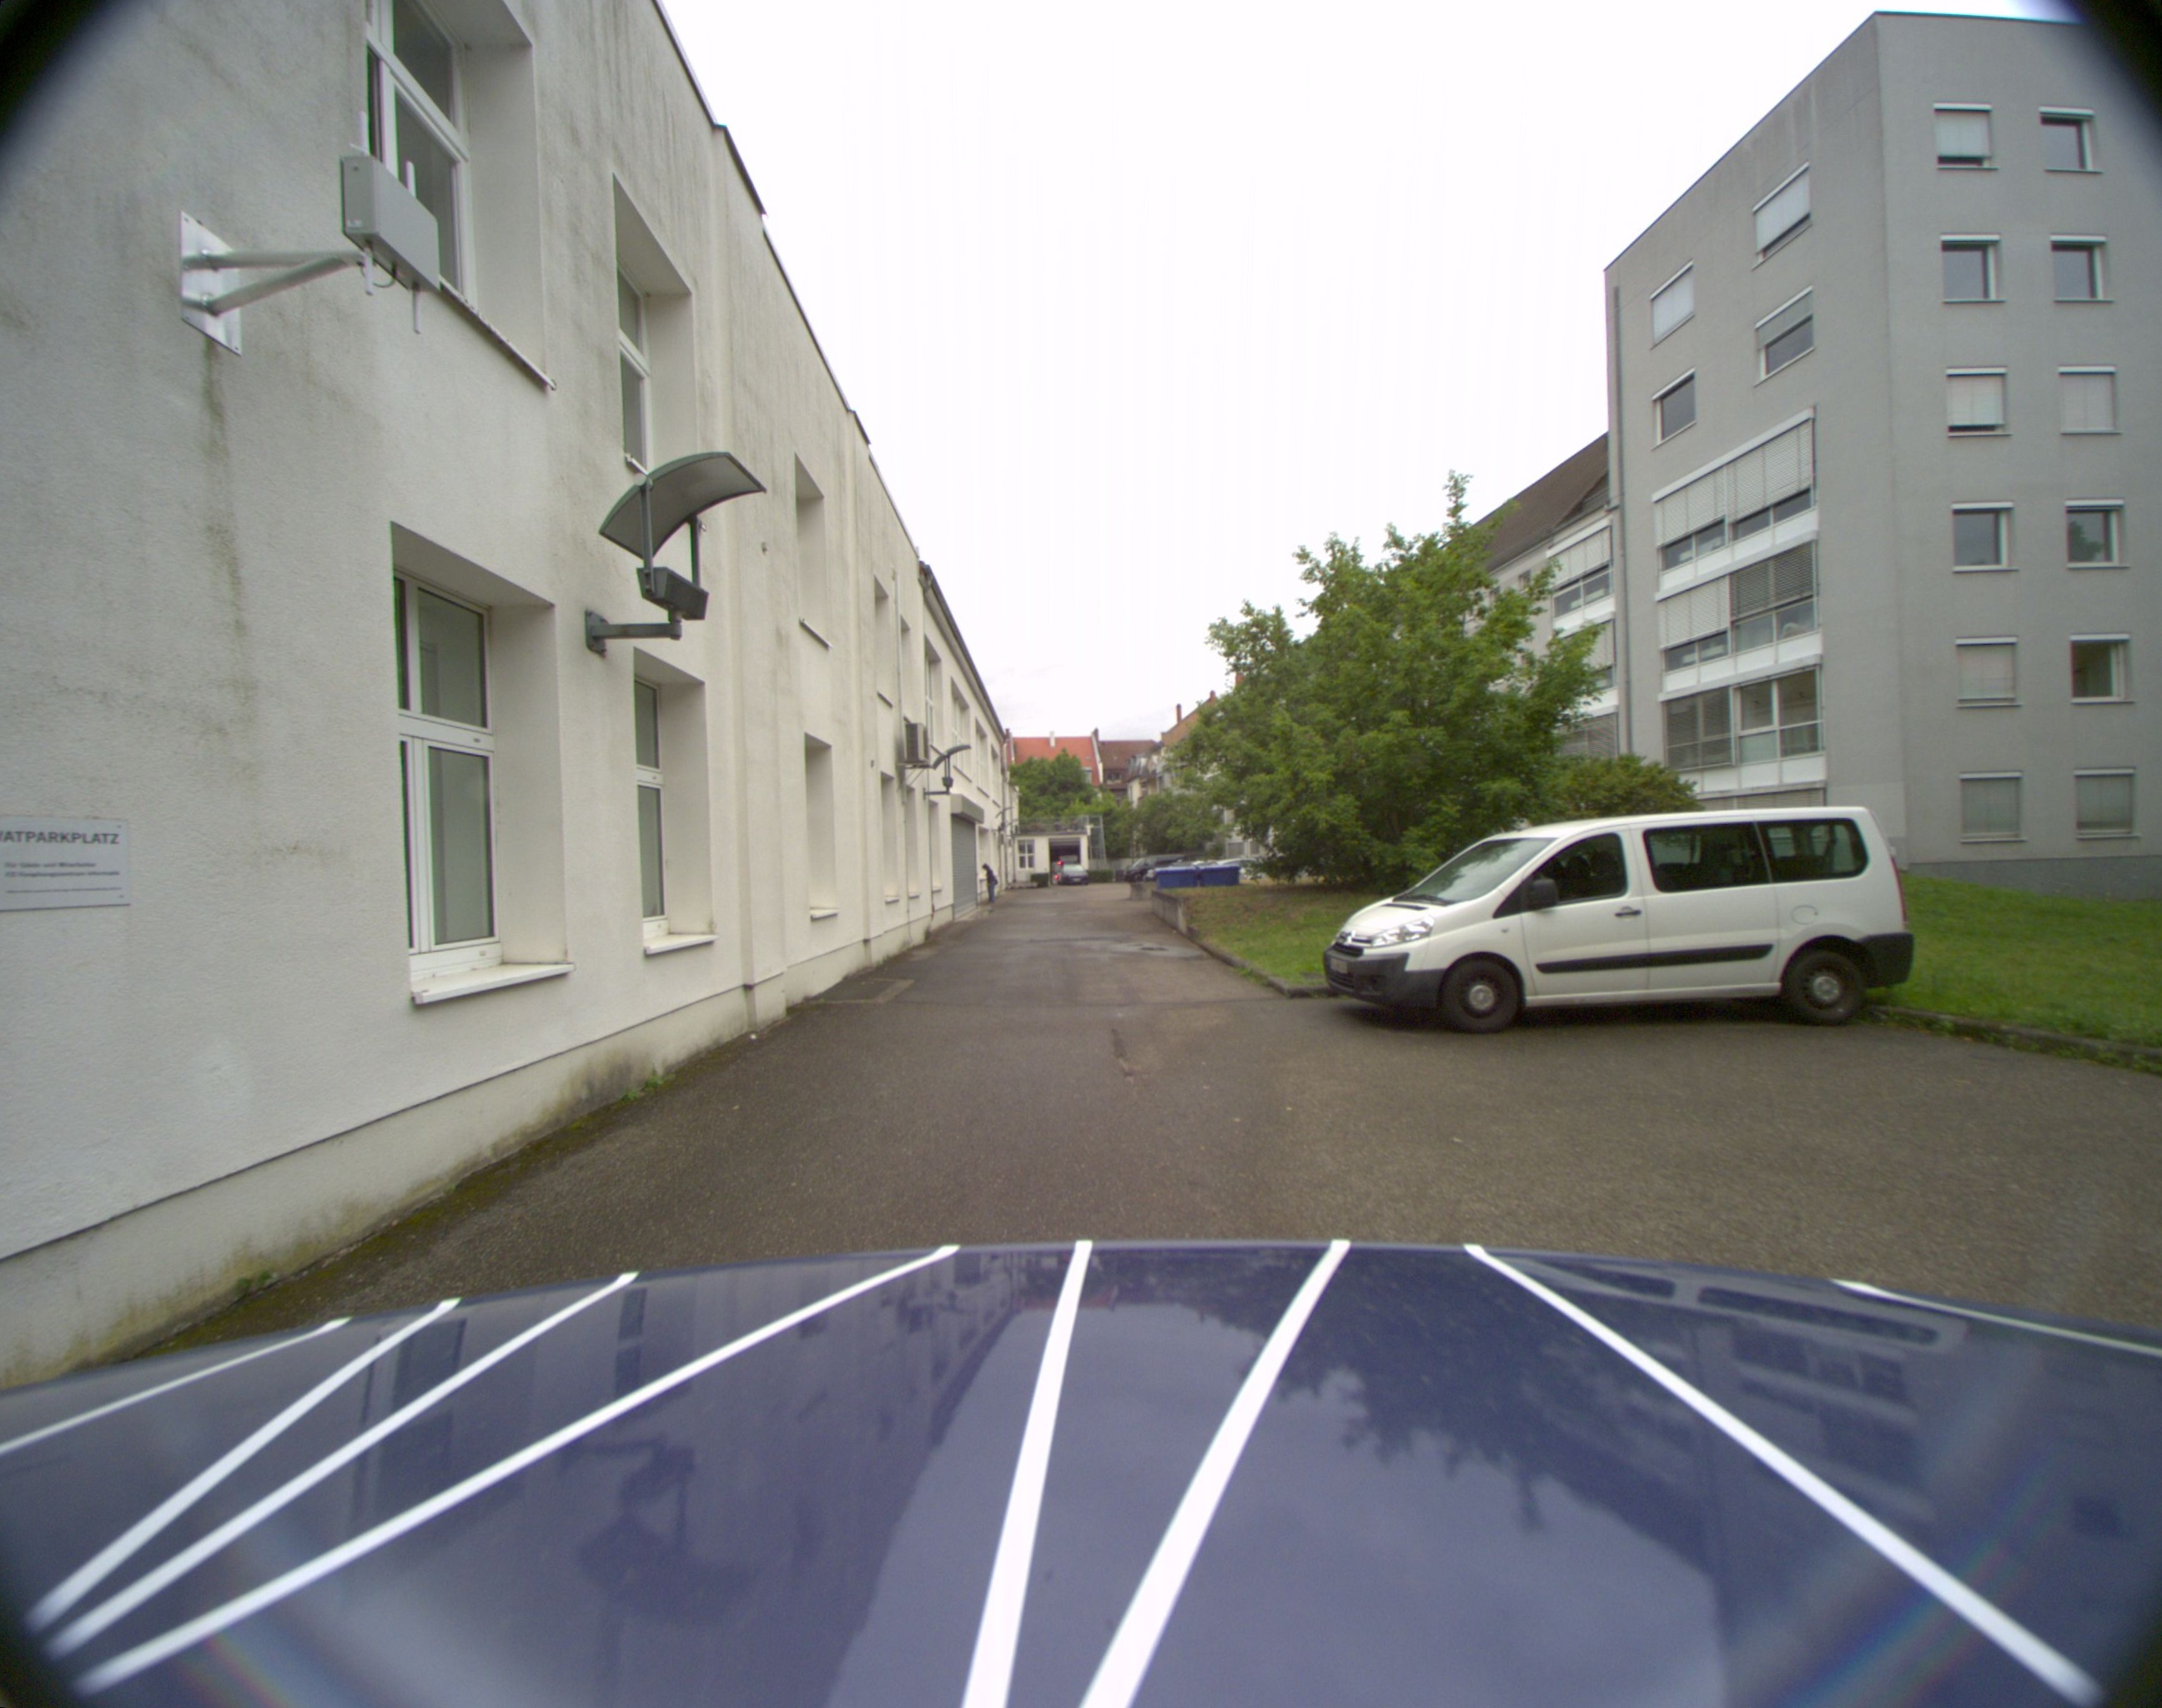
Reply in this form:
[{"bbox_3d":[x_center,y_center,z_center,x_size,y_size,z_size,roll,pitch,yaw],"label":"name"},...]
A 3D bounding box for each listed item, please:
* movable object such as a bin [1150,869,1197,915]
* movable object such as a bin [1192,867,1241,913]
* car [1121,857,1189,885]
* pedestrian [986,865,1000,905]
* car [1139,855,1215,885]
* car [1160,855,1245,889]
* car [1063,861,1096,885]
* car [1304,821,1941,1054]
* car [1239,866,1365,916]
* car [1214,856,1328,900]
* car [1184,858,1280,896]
[{"bbox_3d":[2.764,1.117,22.888,1.180,1.299,1.228,-2,-1,-3],"label":"movable object such as a bin"},{"bbox_3d":[4.091,1.065,23.030,1.180,1.299,1.228,-2,-1,-3],"label":"movable object such as a bin"},{"bbox_3d":[5.163,1.166,53.285,4.341,1.724,1.999,-2,0,-7],"label":"car"},{"bbox_3d":[-3.497,1.231,30.221,0.499,1.553,0.429,-2,1,-5],"label":"pedestrian"},{"bbox_3d":[5.978,0.973,47.631,4.341,1.724,1.999,-2,0,-7],"label":"car"},{"bbox_3d":[6.839,0.991,43.030,4.341,1.724,1.999,-2,0,-7],"label":"car"},{"bbox_3d":[-0.156,1.288,52.724,1.919,1.390,3.998,-2,1,-4],"label":"car"},{"bbox_3d":[4.849,0.743,7.387,4.769,1.861,1.902,-1,-2,0],"label":"car"},{"bbox_3d":[8.720,1.421,30.149,4.341,1.724,1.999,-2,0,-7],"label":"car"},{"bbox_3d":[8.266,1.011,33.252,4.341,1.724,1.999,-2,0,-7],"label":"car"},{"bbox_3d":[7.654,1.125,38.786,4.341,1.724,1.999,-2,0,-7],"label":"car"}]
